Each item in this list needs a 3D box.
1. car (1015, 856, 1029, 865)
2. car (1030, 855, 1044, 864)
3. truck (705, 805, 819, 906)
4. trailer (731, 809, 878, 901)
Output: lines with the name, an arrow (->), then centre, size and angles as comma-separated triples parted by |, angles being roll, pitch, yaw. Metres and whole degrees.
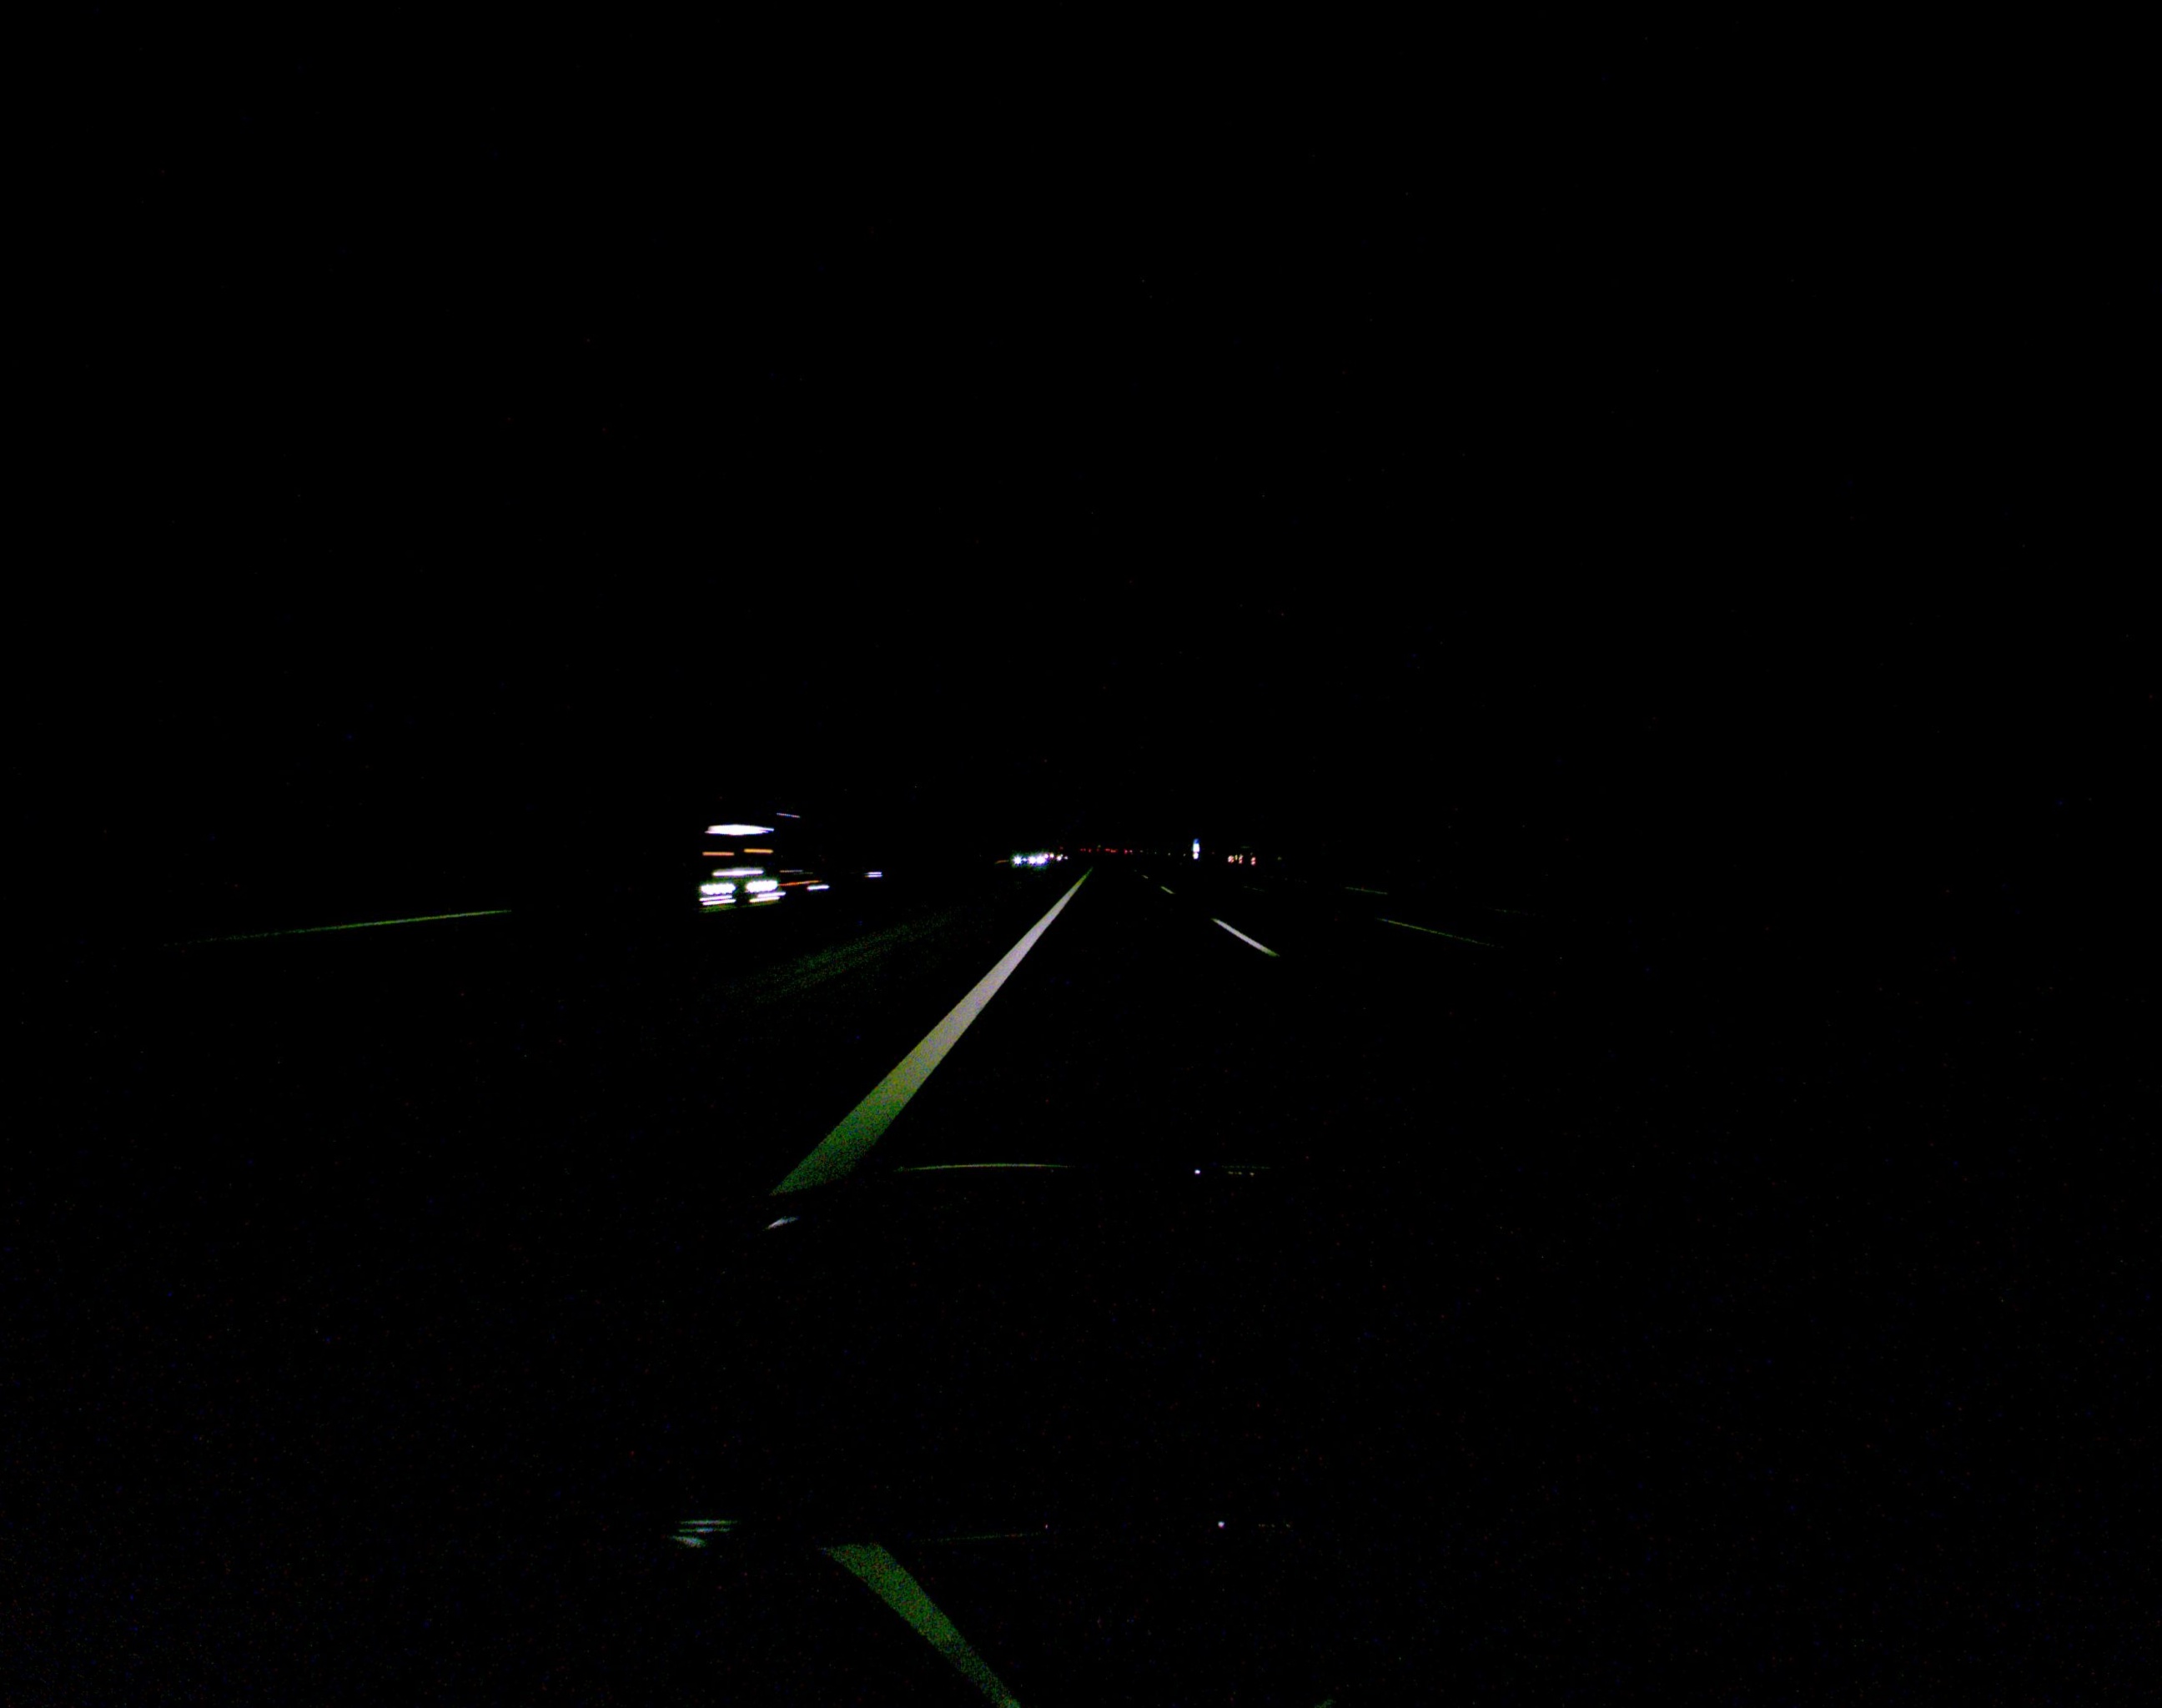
car -> -11.004, 1.255, 152.587 | 1.986, 1.485, 4.802 | -3, 0, 2
car -> -7.849, 0.927, 145.949 | 1.986, 1.394, 5.707 | -3, 0, 1
truck -> -14.756, 0.074, 38.205 | 2.744, 4.212, 5.827 | -3, 0, 1
trailer -> -14.697, 0.082, 45.085 | 2.850, 4.176, 13.908 | -3, 0, 1
